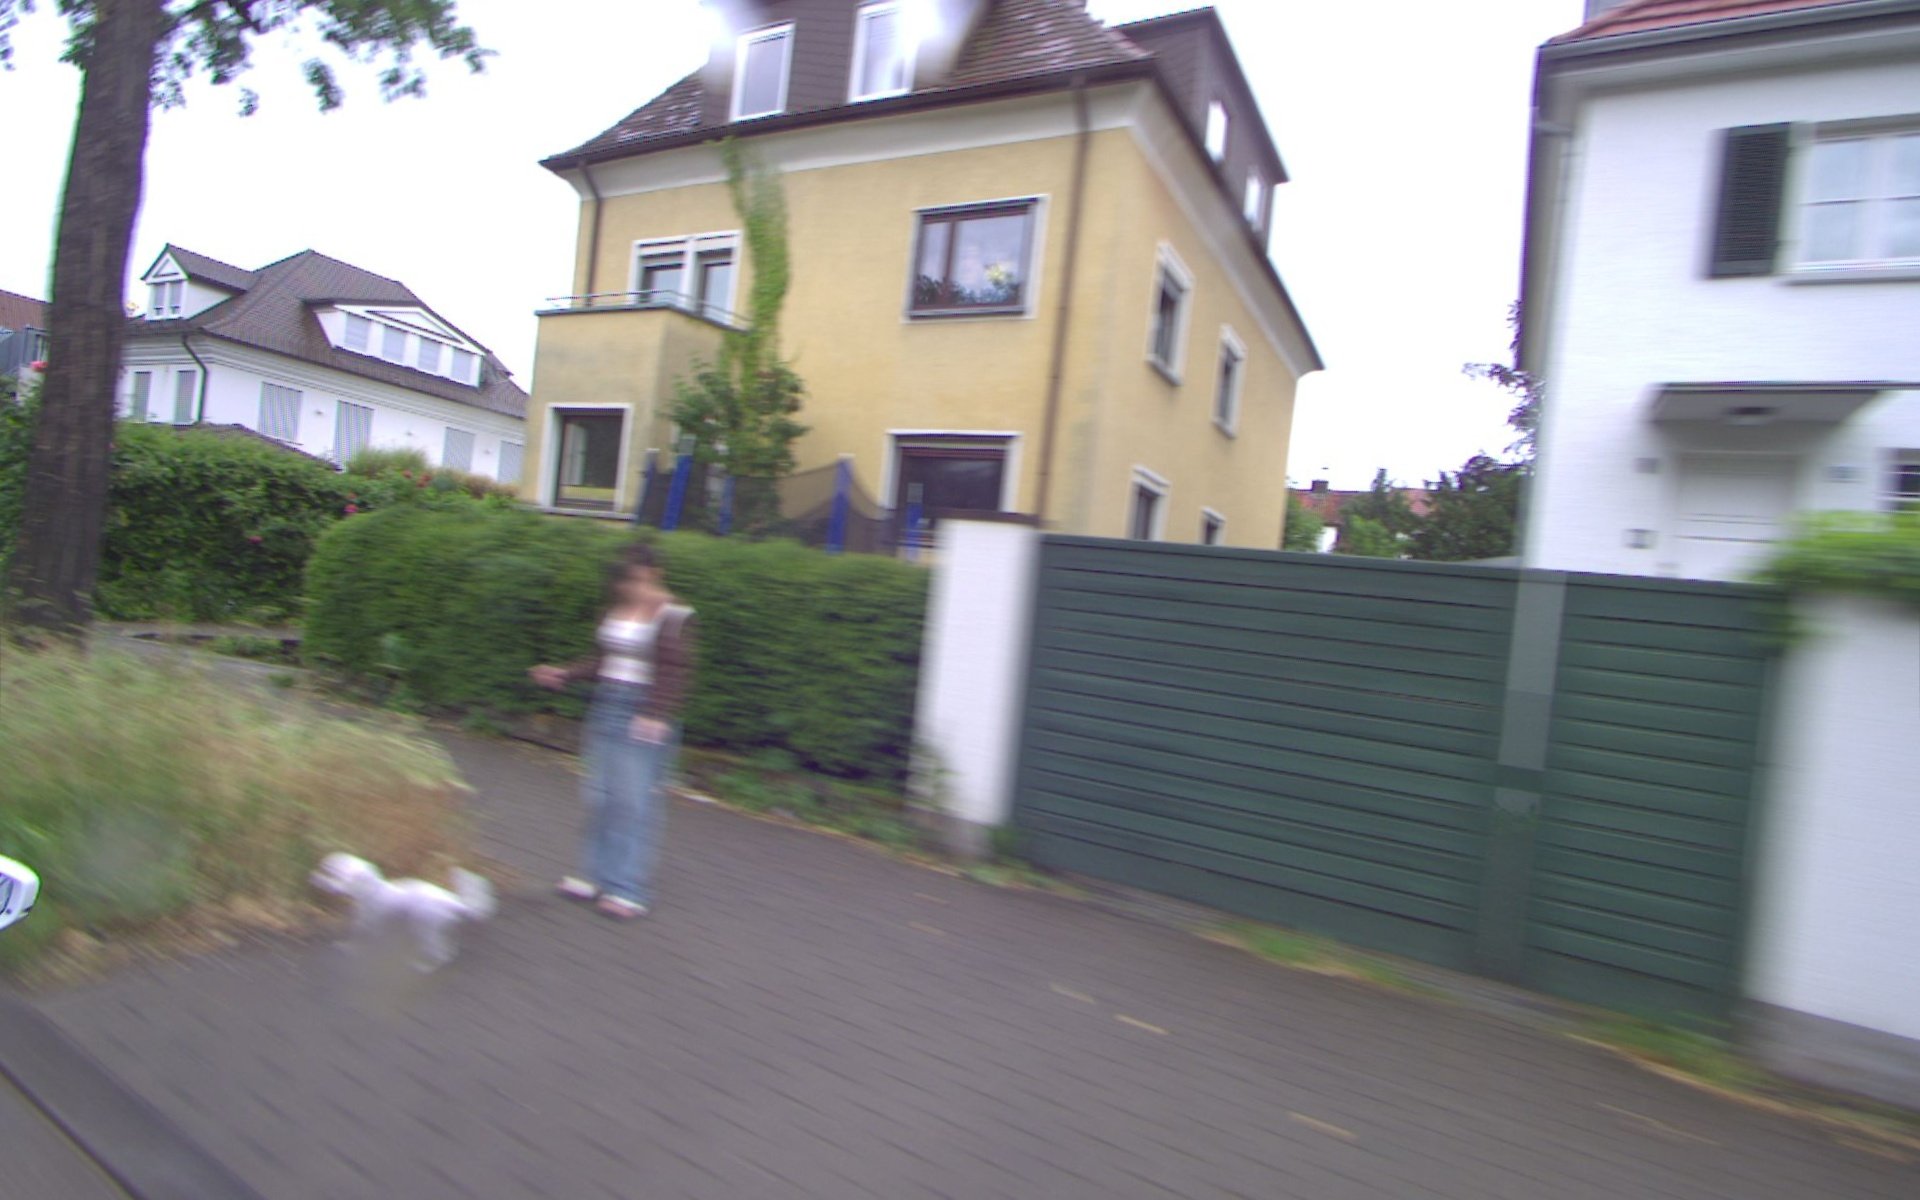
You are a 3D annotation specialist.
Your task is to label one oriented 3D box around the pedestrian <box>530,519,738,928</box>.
[{"bbox_3d":[-1.340,0.486,4.176,0.432,1.552,0.483,6,-1,27],"label":"pedestrian"}]
